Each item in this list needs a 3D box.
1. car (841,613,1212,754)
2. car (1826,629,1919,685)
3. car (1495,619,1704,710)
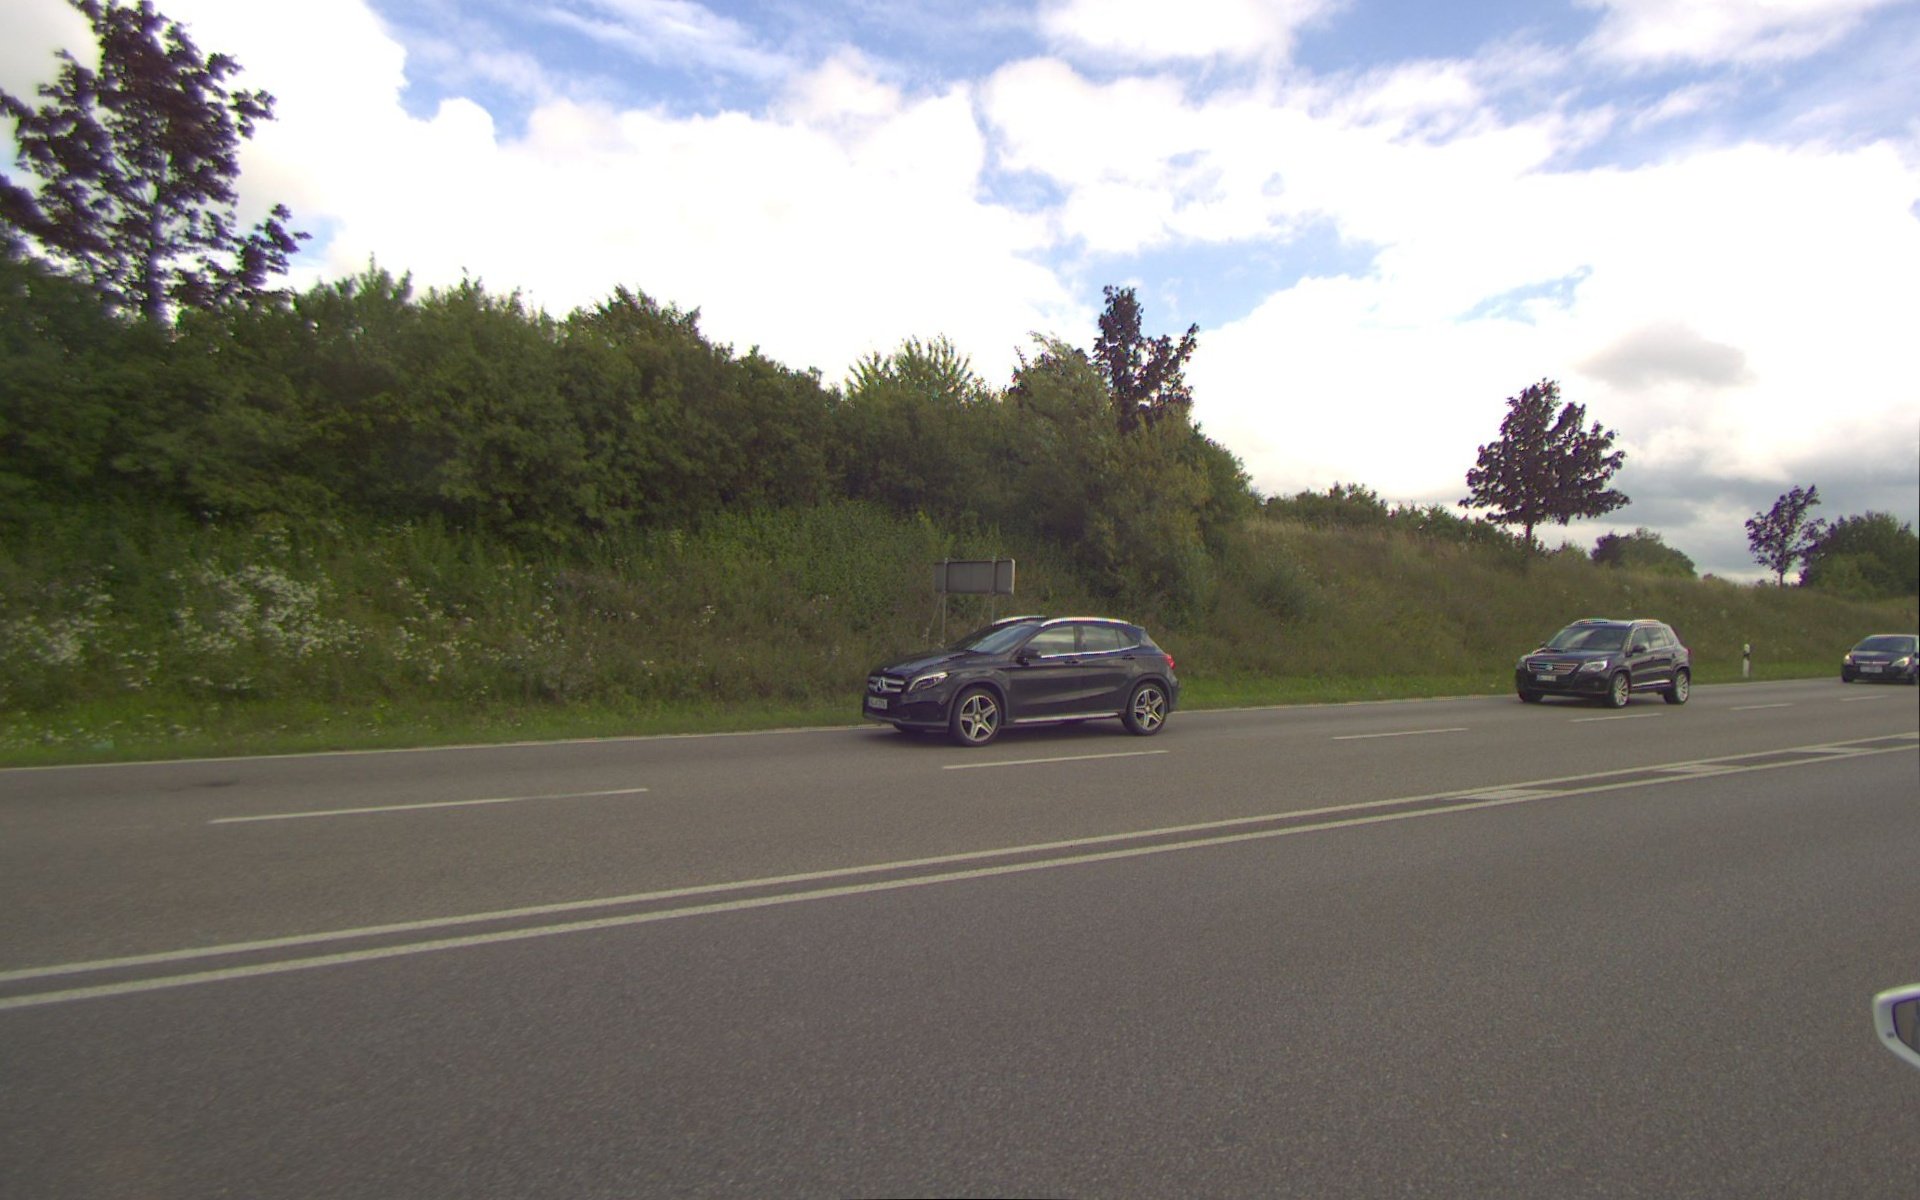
[{"bbox_3d":[0.948,0.976,13.125,4.651,1.532,1.785,1,0,-31],"label":"car"},{"bbox_3d":[28.299,1.697,30.695,4.149,1.550,1.722,1,0,-33],"label":"car"},{"bbox_3d":[12.932,1.239,20.260,4.464,1.656,1.785,1,-1,-31],"label":"car"}]
